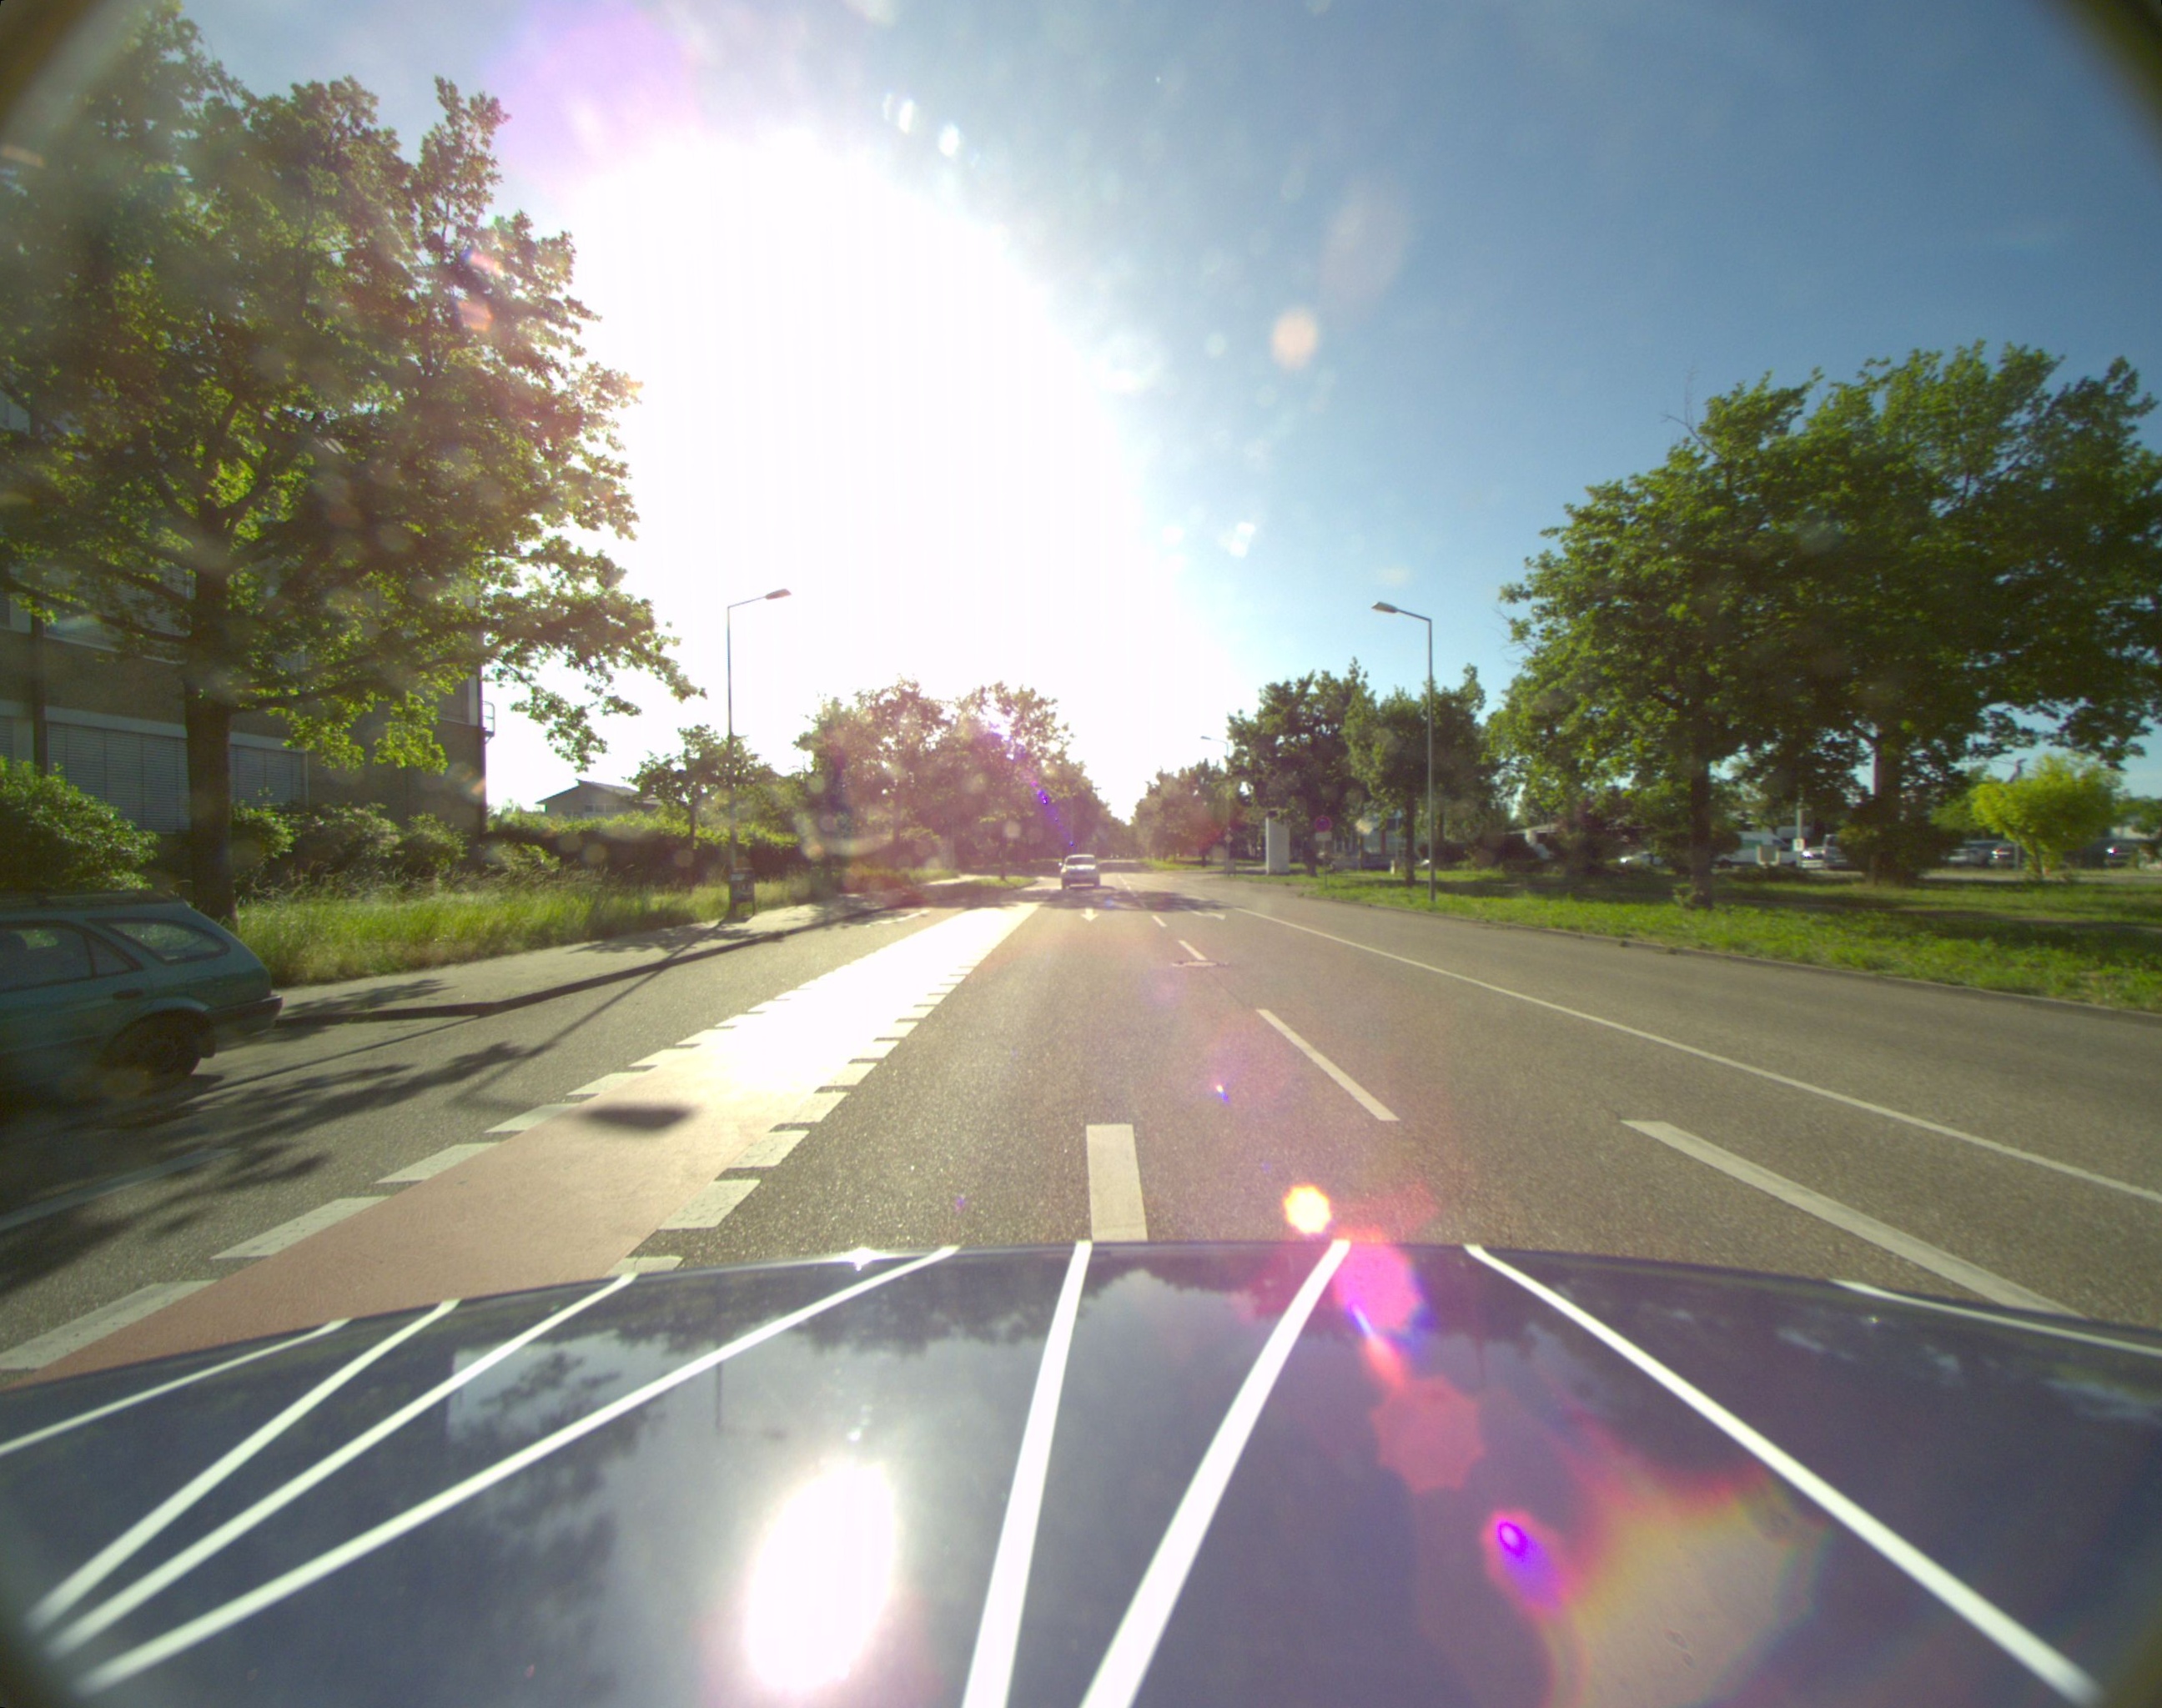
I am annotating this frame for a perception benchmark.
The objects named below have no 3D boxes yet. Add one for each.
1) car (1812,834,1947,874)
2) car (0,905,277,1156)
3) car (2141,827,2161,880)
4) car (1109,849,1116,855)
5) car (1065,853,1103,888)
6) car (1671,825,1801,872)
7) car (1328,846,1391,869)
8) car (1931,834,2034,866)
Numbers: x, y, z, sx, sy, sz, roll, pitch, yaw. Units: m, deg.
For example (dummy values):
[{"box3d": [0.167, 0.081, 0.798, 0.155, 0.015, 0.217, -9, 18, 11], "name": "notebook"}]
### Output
[{"box3d": [40.067, -0.013, 38.207, 4.642, 1.771, 1.990, -2, 1, 0], "name": "car"}, {"box3d": [-7.523, 1.134, 4.213, 1.706, 1.460, 4.141, -1, -1, 0], "name": "car"}, {"box3d": [33.892, -0.092, 22.027, 3.817, 1.562, 1.736, -2, -1, 0], "name": "car"}, {"box3d": [7.343, -0.499, 178.235, 1.653, 1.460, 3.941, -1, 0, 2], "name": "car"}, {"box3d": [0.195, 0.768, 37.677, 1.721, 1.598, 4.068, -2, 0, 2], "name": "car"}, {"box3d": [39.907, -0.346, 46.384, 6.023, 2.540, 2.409, -2, 1, -4], "name": "car"}, {"box3d": [23.939, 0.292, 65.359, 4.637, 1.822, 2.000, -2, 1, 0], "name": "car"}, {"box3d": [52.096, -0.218, 43.945, 3.860, 1.661, 1.762, -2, 1, 0], "name": "car"}]
